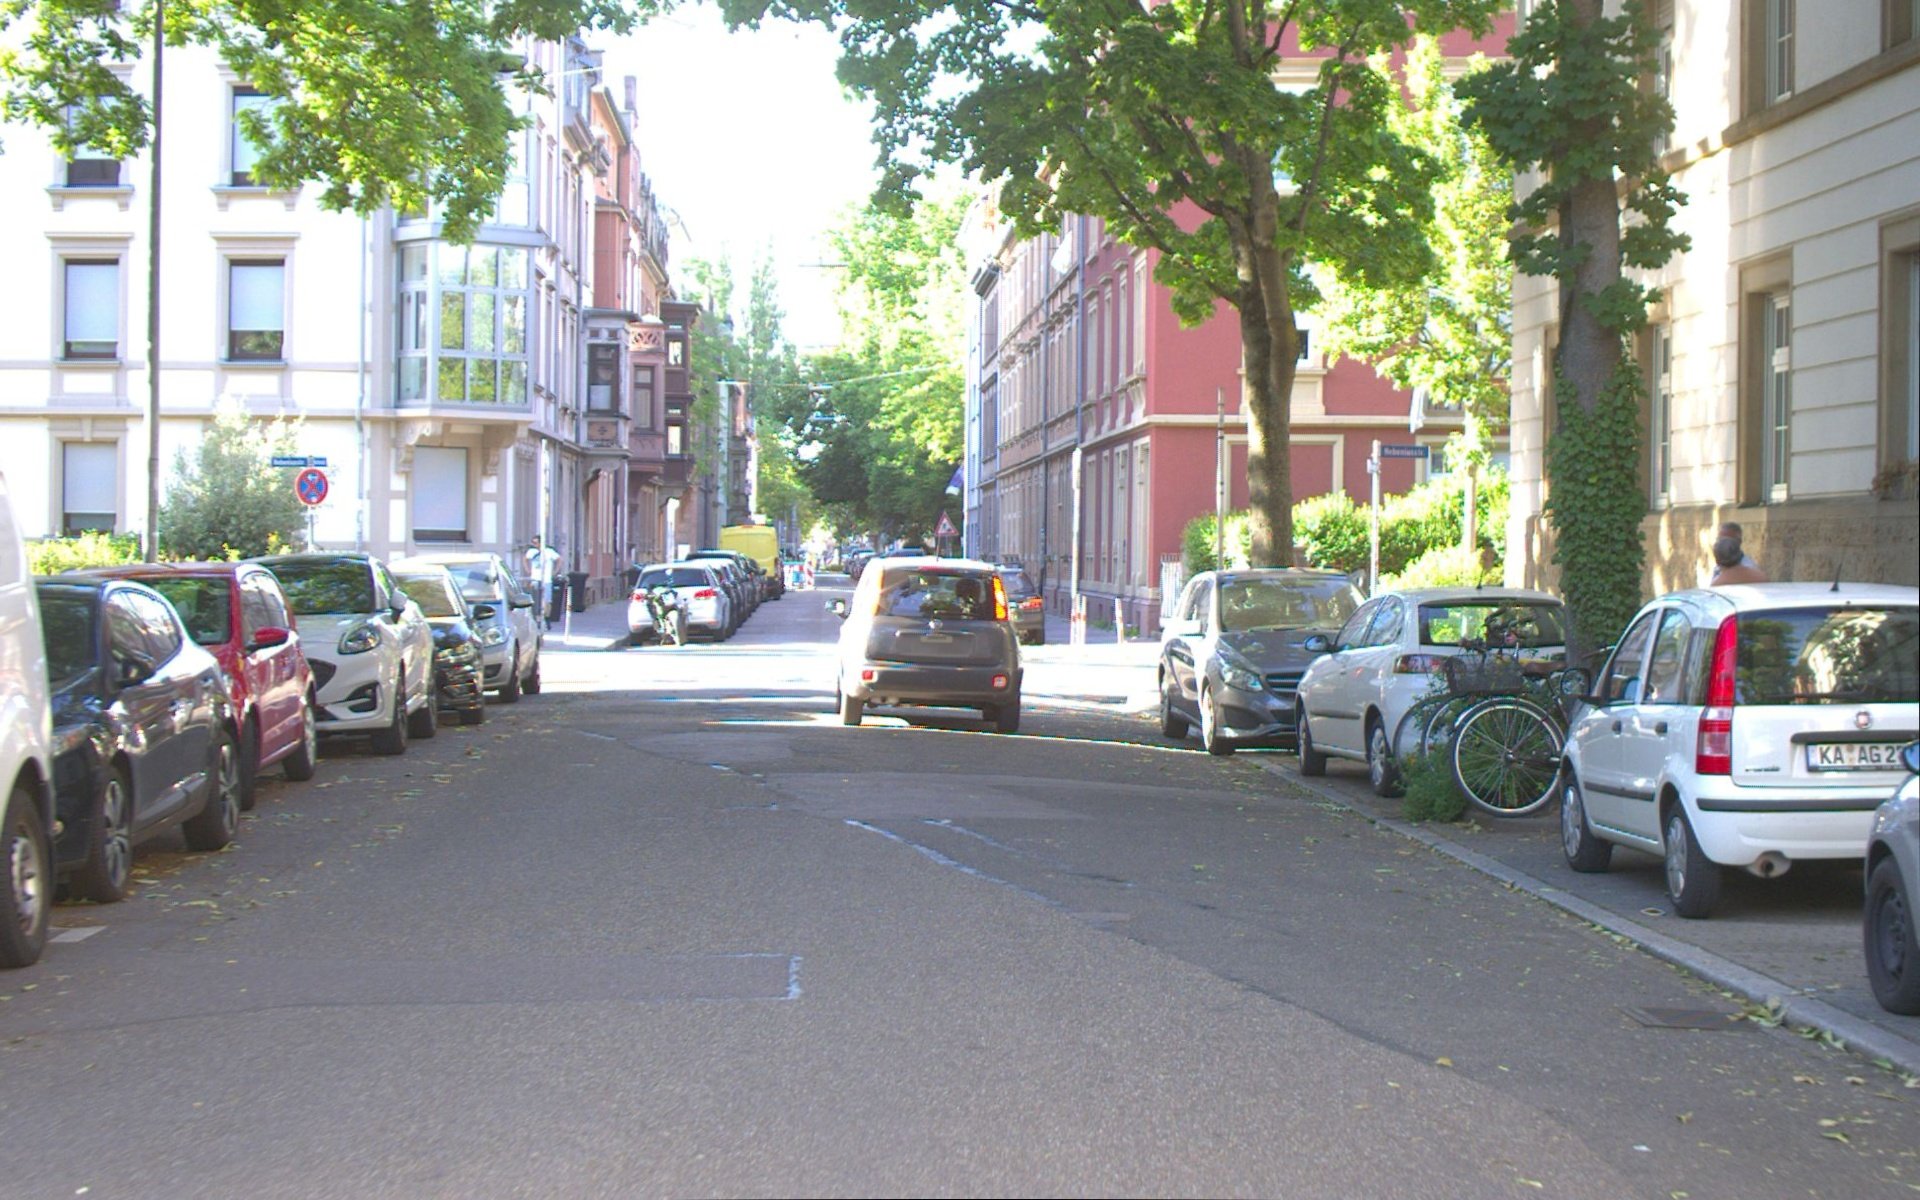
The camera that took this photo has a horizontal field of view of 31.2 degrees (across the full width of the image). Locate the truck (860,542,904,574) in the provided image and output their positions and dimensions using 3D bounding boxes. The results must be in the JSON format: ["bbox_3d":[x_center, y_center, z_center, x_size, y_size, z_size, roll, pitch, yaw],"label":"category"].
[{"bbox_3d":[-3.740,-2.009,164.199,1.993,1.451,4.001,1,1,-2],"label":"truck"}]

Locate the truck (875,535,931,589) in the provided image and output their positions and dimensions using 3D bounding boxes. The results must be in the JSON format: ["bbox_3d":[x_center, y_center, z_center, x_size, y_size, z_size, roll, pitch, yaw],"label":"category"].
[{"bbox_3d":[-2.167,-1.448,130.037,1.993,1.985,4.001,1,1,-2],"label":"truck"}]

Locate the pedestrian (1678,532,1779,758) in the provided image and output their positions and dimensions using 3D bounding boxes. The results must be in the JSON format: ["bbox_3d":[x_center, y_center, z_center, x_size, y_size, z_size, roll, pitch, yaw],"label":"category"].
[{"bbox_3d":[5.955,0.341,26.666,0.489,1.700,0.757,-3,0,-3],"label":"pedestrian"}]

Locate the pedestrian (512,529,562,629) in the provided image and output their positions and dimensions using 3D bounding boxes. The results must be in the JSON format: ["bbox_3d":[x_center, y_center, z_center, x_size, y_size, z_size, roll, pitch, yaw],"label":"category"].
[{"bbox_3d":[-7.865,-0.396,63.975,0.723,1.833,0.626,2,1,9],"label":"pedestrian"}]

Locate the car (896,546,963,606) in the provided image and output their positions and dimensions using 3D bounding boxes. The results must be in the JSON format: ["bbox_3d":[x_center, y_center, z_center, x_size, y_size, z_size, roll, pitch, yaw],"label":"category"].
[{"bbox_3d":[-0.827,-0.650,90.455,1.663,1.500,3.757,2,1,-1],"label":"car"}]

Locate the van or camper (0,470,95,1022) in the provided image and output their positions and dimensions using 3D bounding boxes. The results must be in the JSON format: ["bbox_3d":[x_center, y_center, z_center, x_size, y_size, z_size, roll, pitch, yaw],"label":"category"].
[{"bbox_3d":[-4.353,0.567,11.141,1.921,1.973,5.462,-2,1,-3],"label":"van or camper"}]

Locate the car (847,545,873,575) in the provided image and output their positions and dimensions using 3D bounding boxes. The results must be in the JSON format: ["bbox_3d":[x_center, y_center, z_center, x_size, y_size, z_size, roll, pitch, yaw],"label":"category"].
[{"bbox_3d":[-5.330,-2.147,183.775,1.367,1.612,3.414,1,1,-1],"label":"car"}]

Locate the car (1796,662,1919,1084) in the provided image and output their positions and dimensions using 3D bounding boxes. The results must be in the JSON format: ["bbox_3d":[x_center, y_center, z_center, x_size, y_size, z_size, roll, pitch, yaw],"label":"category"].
[{"bbox_3d":[4.100,0.965,11.188,1.622,1.389,4.158,0,1,-2],"label":"car"}]

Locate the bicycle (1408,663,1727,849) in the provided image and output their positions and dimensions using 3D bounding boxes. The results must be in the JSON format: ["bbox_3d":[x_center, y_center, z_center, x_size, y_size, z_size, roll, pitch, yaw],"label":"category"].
[{"bbox_3d":[3.634,0.927,20.637,1.769,1.036,0.606,2,1,-2],"label":"bicycle"}]

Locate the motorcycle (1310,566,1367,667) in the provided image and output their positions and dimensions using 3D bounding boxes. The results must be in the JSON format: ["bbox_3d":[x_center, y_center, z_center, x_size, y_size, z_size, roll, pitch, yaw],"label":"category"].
[{"bbox_3d":[5.748,0.226,52.282,0.826,1.399,2.556,1,3,6],"label":"motorcycle"}]

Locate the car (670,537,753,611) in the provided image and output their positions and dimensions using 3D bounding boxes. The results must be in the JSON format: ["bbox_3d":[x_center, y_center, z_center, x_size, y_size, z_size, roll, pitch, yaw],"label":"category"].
[{"bbox_3d":[-6.131,-0.665,85.149,1.775,1.693,3.925,-3,1,-1],"label":"car"}]

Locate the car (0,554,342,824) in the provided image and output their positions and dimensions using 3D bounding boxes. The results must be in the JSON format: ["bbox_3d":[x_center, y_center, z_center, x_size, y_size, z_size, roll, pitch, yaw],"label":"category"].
[{"bbox_3d":[-4.981,0.482,21.547,1.601,1.455,4.028,-2,1,-2],"label":"car"}]

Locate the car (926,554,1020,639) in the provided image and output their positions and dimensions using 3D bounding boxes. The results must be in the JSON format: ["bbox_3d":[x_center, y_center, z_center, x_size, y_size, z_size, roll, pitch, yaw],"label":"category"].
[{"bbox_3d":[0.229,-0.095,65.799,1.663,1.500,3.757,2,1,-1],"label":"car"}]

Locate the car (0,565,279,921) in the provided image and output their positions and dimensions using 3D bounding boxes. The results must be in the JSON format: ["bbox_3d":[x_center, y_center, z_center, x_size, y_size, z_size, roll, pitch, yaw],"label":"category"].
[{"bbox_3d":[-4.701,0.594,16.651,2.000,1.452,4.606,-1,1,-2],"label":"car"}]

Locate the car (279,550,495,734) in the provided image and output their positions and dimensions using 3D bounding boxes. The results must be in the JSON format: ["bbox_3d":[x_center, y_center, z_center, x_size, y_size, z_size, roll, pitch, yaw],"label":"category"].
[{"bbox_3d":[-5.225,0.325,31.787,1.746,1.469,4.465,-3,1,-8],"label":"car"}]

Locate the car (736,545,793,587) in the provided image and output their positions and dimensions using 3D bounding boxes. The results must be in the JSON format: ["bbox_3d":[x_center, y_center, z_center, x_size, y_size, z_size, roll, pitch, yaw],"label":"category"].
[{"bbox_3d":[-7.458,-1.316,131.449,1.961,1.474,3.925,-3,1,-1],"label":"car"}]

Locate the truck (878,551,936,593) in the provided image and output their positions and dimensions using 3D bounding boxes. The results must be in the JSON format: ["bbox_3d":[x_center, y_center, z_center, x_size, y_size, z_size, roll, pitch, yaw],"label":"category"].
[{"bbox_3d":[-1.927,-1.036,124.665,1.993,1.451,4.001,1,1,-2],"label":"truck"}]

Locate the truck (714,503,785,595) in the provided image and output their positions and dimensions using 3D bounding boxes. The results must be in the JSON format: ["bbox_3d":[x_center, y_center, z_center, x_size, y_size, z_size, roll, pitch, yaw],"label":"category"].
[{"bbox_3d":[-7.083,-1.729,116.179,2.070,2.916,5.068,-3,1,-1],"label":"truck"}]

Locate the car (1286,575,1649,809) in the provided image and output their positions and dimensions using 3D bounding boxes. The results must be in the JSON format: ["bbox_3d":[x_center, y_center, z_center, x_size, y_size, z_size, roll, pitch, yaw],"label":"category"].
[{"bbox_3d":[3.519,0.594,24.504,1.610,1.473,3.871,1,1,-6],"label":"car"}]

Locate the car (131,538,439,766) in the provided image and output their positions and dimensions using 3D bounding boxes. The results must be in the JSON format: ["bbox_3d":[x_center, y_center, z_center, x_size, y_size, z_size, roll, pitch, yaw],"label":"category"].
[{"bbox_3d":[-5.181,0.341,26.880,1.824,1.548,4.134,-3,1,-4],"label":"car"}]

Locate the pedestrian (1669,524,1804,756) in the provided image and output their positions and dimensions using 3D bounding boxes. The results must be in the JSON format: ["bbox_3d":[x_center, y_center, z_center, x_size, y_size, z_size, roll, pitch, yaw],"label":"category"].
[{"bbox_3d":[5.811,0.291,25.767,0.778,1.688,0.874,1,1,1],"label":"pedestrian"}]

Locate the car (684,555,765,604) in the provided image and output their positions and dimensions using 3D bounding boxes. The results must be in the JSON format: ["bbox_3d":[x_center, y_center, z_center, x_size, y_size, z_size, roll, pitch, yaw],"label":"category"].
[{"bbox_3d":[-6.451,-0.583,94.436,1.961,1.220,3.925,-3,1,-1],"label":"car"}]

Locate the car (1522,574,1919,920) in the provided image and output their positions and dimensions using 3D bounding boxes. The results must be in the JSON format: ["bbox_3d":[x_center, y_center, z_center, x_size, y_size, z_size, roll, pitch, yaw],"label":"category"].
[{"bbox_3d":[3.903,0.647,17.116,1.520,1.505,3.544,1,1,-2],"label":"car"}]

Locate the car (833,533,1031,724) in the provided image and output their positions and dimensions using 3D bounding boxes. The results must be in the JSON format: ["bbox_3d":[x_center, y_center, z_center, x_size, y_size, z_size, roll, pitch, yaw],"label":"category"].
[{"bbox_3d":[-0.300,0.219,31.610,1.632,1.544,3.265,3,2,-3],"label":"car"}]

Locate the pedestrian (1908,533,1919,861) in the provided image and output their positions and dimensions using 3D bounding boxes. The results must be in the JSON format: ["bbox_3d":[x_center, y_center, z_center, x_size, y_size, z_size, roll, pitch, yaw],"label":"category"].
[{"bbox_3d":[5.327,0.514,17.892,0.520,1.729,0.878,0,1,-1],"label":"pedestrian"}]

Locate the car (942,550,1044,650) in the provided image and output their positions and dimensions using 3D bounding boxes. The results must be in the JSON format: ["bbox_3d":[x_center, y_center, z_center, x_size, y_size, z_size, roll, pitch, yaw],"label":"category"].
[{"bbox_3d":[0.561,-0.033,61.312,1.663,1.663,3.757,2,1,-1],"label":"car"}]

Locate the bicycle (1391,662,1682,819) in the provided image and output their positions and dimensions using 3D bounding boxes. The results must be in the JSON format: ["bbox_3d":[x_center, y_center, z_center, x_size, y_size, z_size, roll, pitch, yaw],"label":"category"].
[{"bbox_3d":[3.654,0.885,21.861,1.715,0.946,0.733,0,1,-2],"label":"bicycle"}]

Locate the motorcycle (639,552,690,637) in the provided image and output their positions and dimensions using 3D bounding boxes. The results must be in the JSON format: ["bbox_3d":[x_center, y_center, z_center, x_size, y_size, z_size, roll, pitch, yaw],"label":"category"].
[{"bbox_3d":[-5.190,-0.106,60.307,0.696,1.455,1.751,-1,1,-11],"label":"motorcycle"}]

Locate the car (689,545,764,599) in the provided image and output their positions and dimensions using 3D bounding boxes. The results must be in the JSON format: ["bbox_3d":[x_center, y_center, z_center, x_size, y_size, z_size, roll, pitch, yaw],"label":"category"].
[{"bbox_3d":[-6.915,-0.847,102.078,1.961,1.474,3.925,-3,1,-1],"label":"car"}]

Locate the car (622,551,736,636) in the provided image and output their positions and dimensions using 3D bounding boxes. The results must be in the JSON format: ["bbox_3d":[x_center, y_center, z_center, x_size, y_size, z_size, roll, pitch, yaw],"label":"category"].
[{"bbox_3d":[-5.173,-0.136,63.606,1.797,1.427,3.925,-3,1,-1],"label":"car"}]

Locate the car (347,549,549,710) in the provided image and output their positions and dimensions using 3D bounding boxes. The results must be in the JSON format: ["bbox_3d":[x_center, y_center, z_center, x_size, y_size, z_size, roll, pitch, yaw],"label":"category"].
[{"bbox_3d":[-5.434,0.272,36.884,1.696,1.545,3.920,-2,1,-3],"label":"car"}]

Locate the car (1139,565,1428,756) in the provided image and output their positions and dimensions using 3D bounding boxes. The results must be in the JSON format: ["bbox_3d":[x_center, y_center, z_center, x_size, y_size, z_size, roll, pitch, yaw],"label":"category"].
[{"bbox_3d":[2.798,0.482,30.686,1.788,1.545,4.410,1,1,-5],"label":"car"}]
